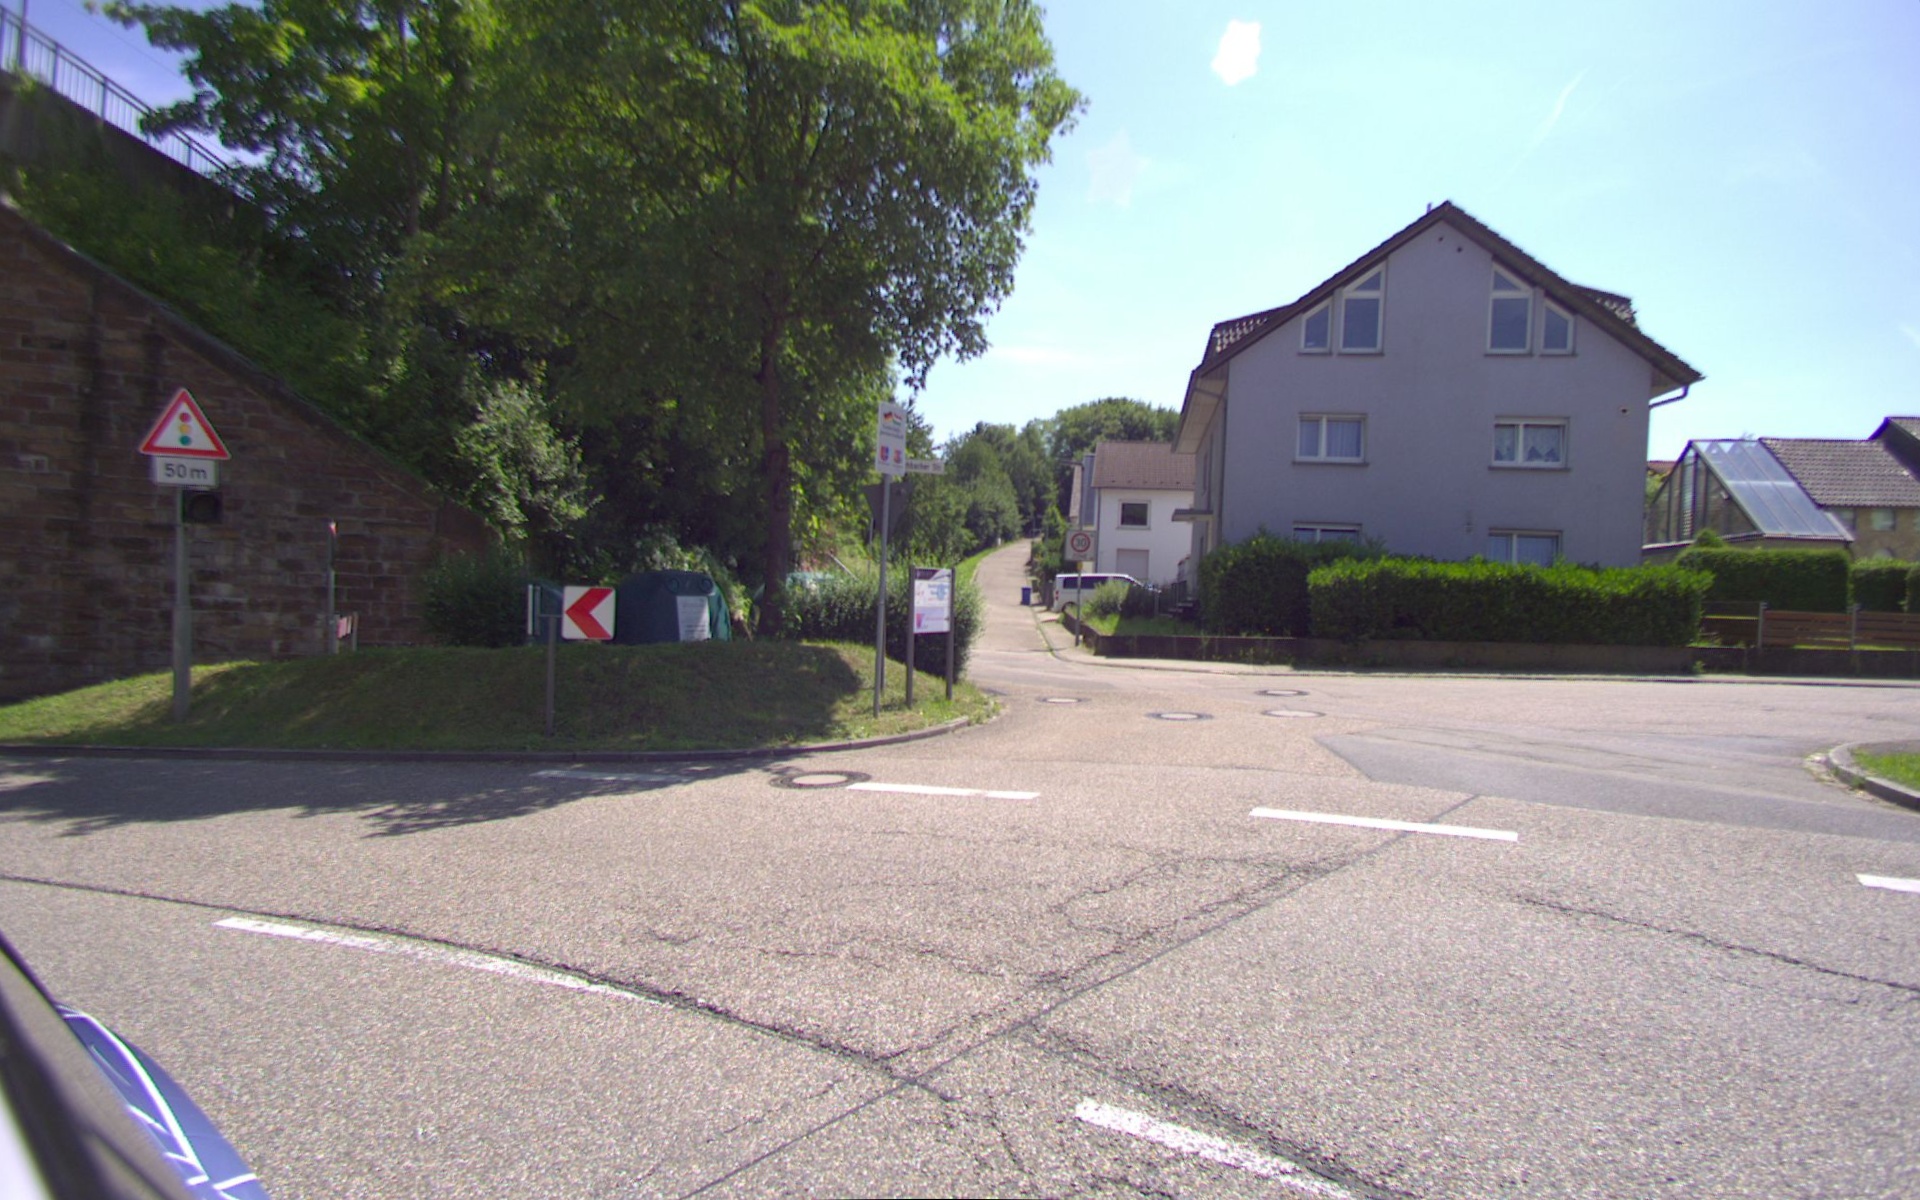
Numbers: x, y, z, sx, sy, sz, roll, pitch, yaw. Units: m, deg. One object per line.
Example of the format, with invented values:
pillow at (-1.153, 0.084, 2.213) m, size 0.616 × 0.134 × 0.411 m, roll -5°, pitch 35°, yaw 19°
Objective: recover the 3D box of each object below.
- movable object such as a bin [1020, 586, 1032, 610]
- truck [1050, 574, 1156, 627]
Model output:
movable object such as a bin at (3.796, -0.111, 58.183) m, size 0.595 × 1.383 × 0.536 m, roll -1°, pitch -1°, yaw 9°
truck at (6.045, 0.029, 43.270) m, size 4.260 × 2.029 × 1.997 m, roll -2°, pitch -1°, yaw 5°
